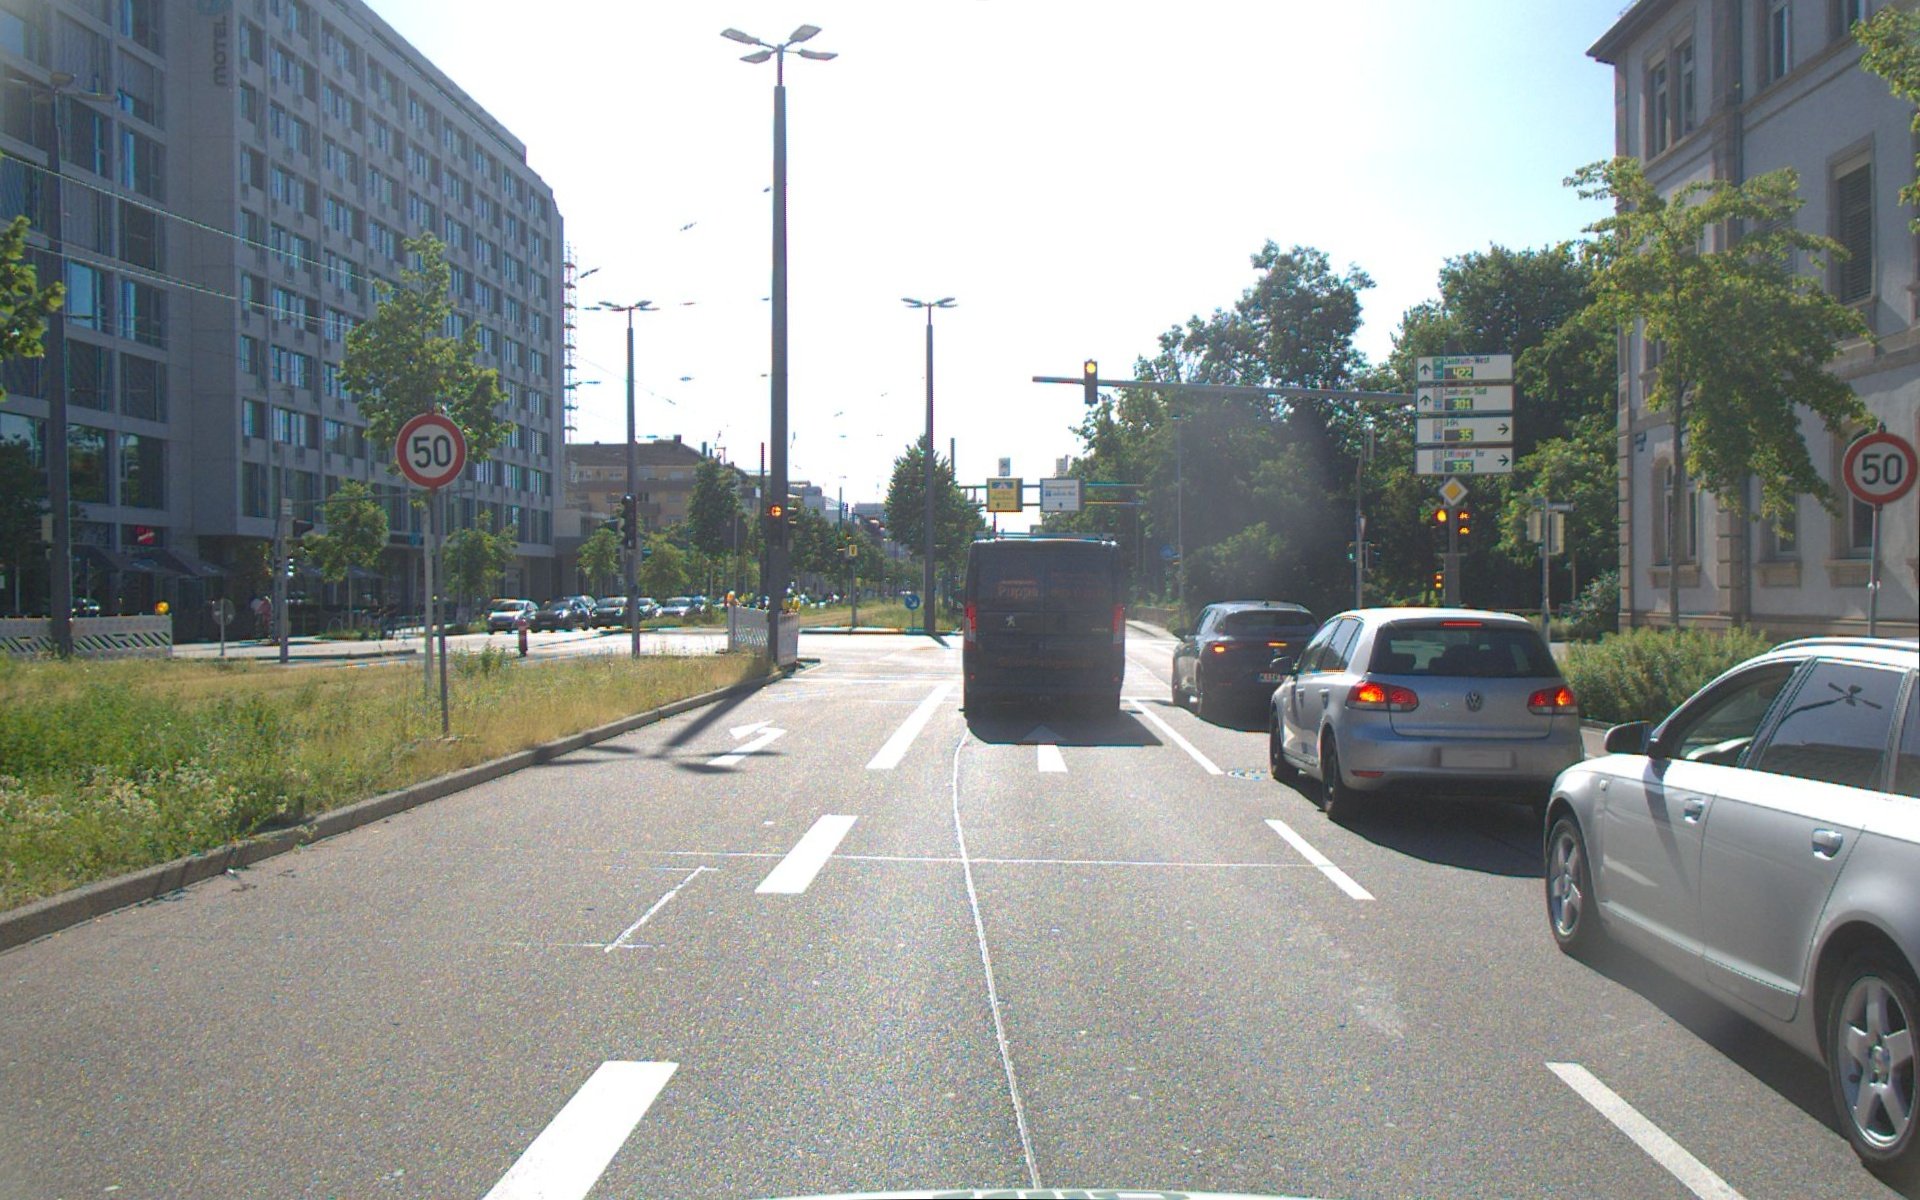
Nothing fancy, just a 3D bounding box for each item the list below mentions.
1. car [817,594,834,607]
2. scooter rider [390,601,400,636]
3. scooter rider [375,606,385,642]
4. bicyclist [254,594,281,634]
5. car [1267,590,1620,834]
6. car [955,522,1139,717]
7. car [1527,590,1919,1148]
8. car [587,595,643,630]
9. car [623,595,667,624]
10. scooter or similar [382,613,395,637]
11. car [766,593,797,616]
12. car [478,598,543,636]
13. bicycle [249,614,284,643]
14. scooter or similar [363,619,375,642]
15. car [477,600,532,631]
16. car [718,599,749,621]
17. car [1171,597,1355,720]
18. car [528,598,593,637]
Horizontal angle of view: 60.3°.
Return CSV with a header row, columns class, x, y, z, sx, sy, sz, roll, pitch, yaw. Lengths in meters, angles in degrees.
class,x,y,z,sx,sy,sz,roll,pitch,yaw
car,-17.535,0.058,215.534,1.753,1.680,4.002,-1,0,3
scooter rider,-23.694,0.780,69.338,0.335,1.478,0.239,-1,0,3
scooter rider,-24.386,1.005,69.520,0.335,1.478,0.239,-1,0,3
bicyclist,-27.606,0.557,65.943,0.581,1.608,0.893,1,0,6
car,3.504,0.712,12.731,1.713,1.554,4.006,1,0,3
car,1.095,0.205,22.105,2.172,2.307,4.485,1,1,1
car,3.476,0.702,5.682,1.711,1.452,4.841,0,0,4
car,-17.231,0.622,82.690,1.753,1.680,4.002,-1,0,3
car,-19.184,0.572,100.910,1.753,1.680,4.002,-1,0,3
scooter or similar,-23.899,1.043,69.171,0.223,0.964,0.768,-1,0,3
car,-13.465,0.325,124.982,1.753,1.680,4.002,-1,0,3
car,-20.868,0.757,76.957,1.753,1.680,4.002,-1,0,3
bicycle,-27.669,1.137,66.013,0.574,1.119,1.624,1,0,6
scooter or similar,-24.801,1.282,69.393,0.280,0.964,0.766,-1,0,-5
car,-25.070,0.831,91.222,1.753,1.680,4.002,-1,0,3
car,-18.249,0.771,133.142,1.753,1.680,4.002,-1,0,3
car,3.884,0.703,21.807,1.755,1.453,3.850,1,0,1
car,-17.964,0.758,74.559,1.753,1.680,4.002,-1,0,3
